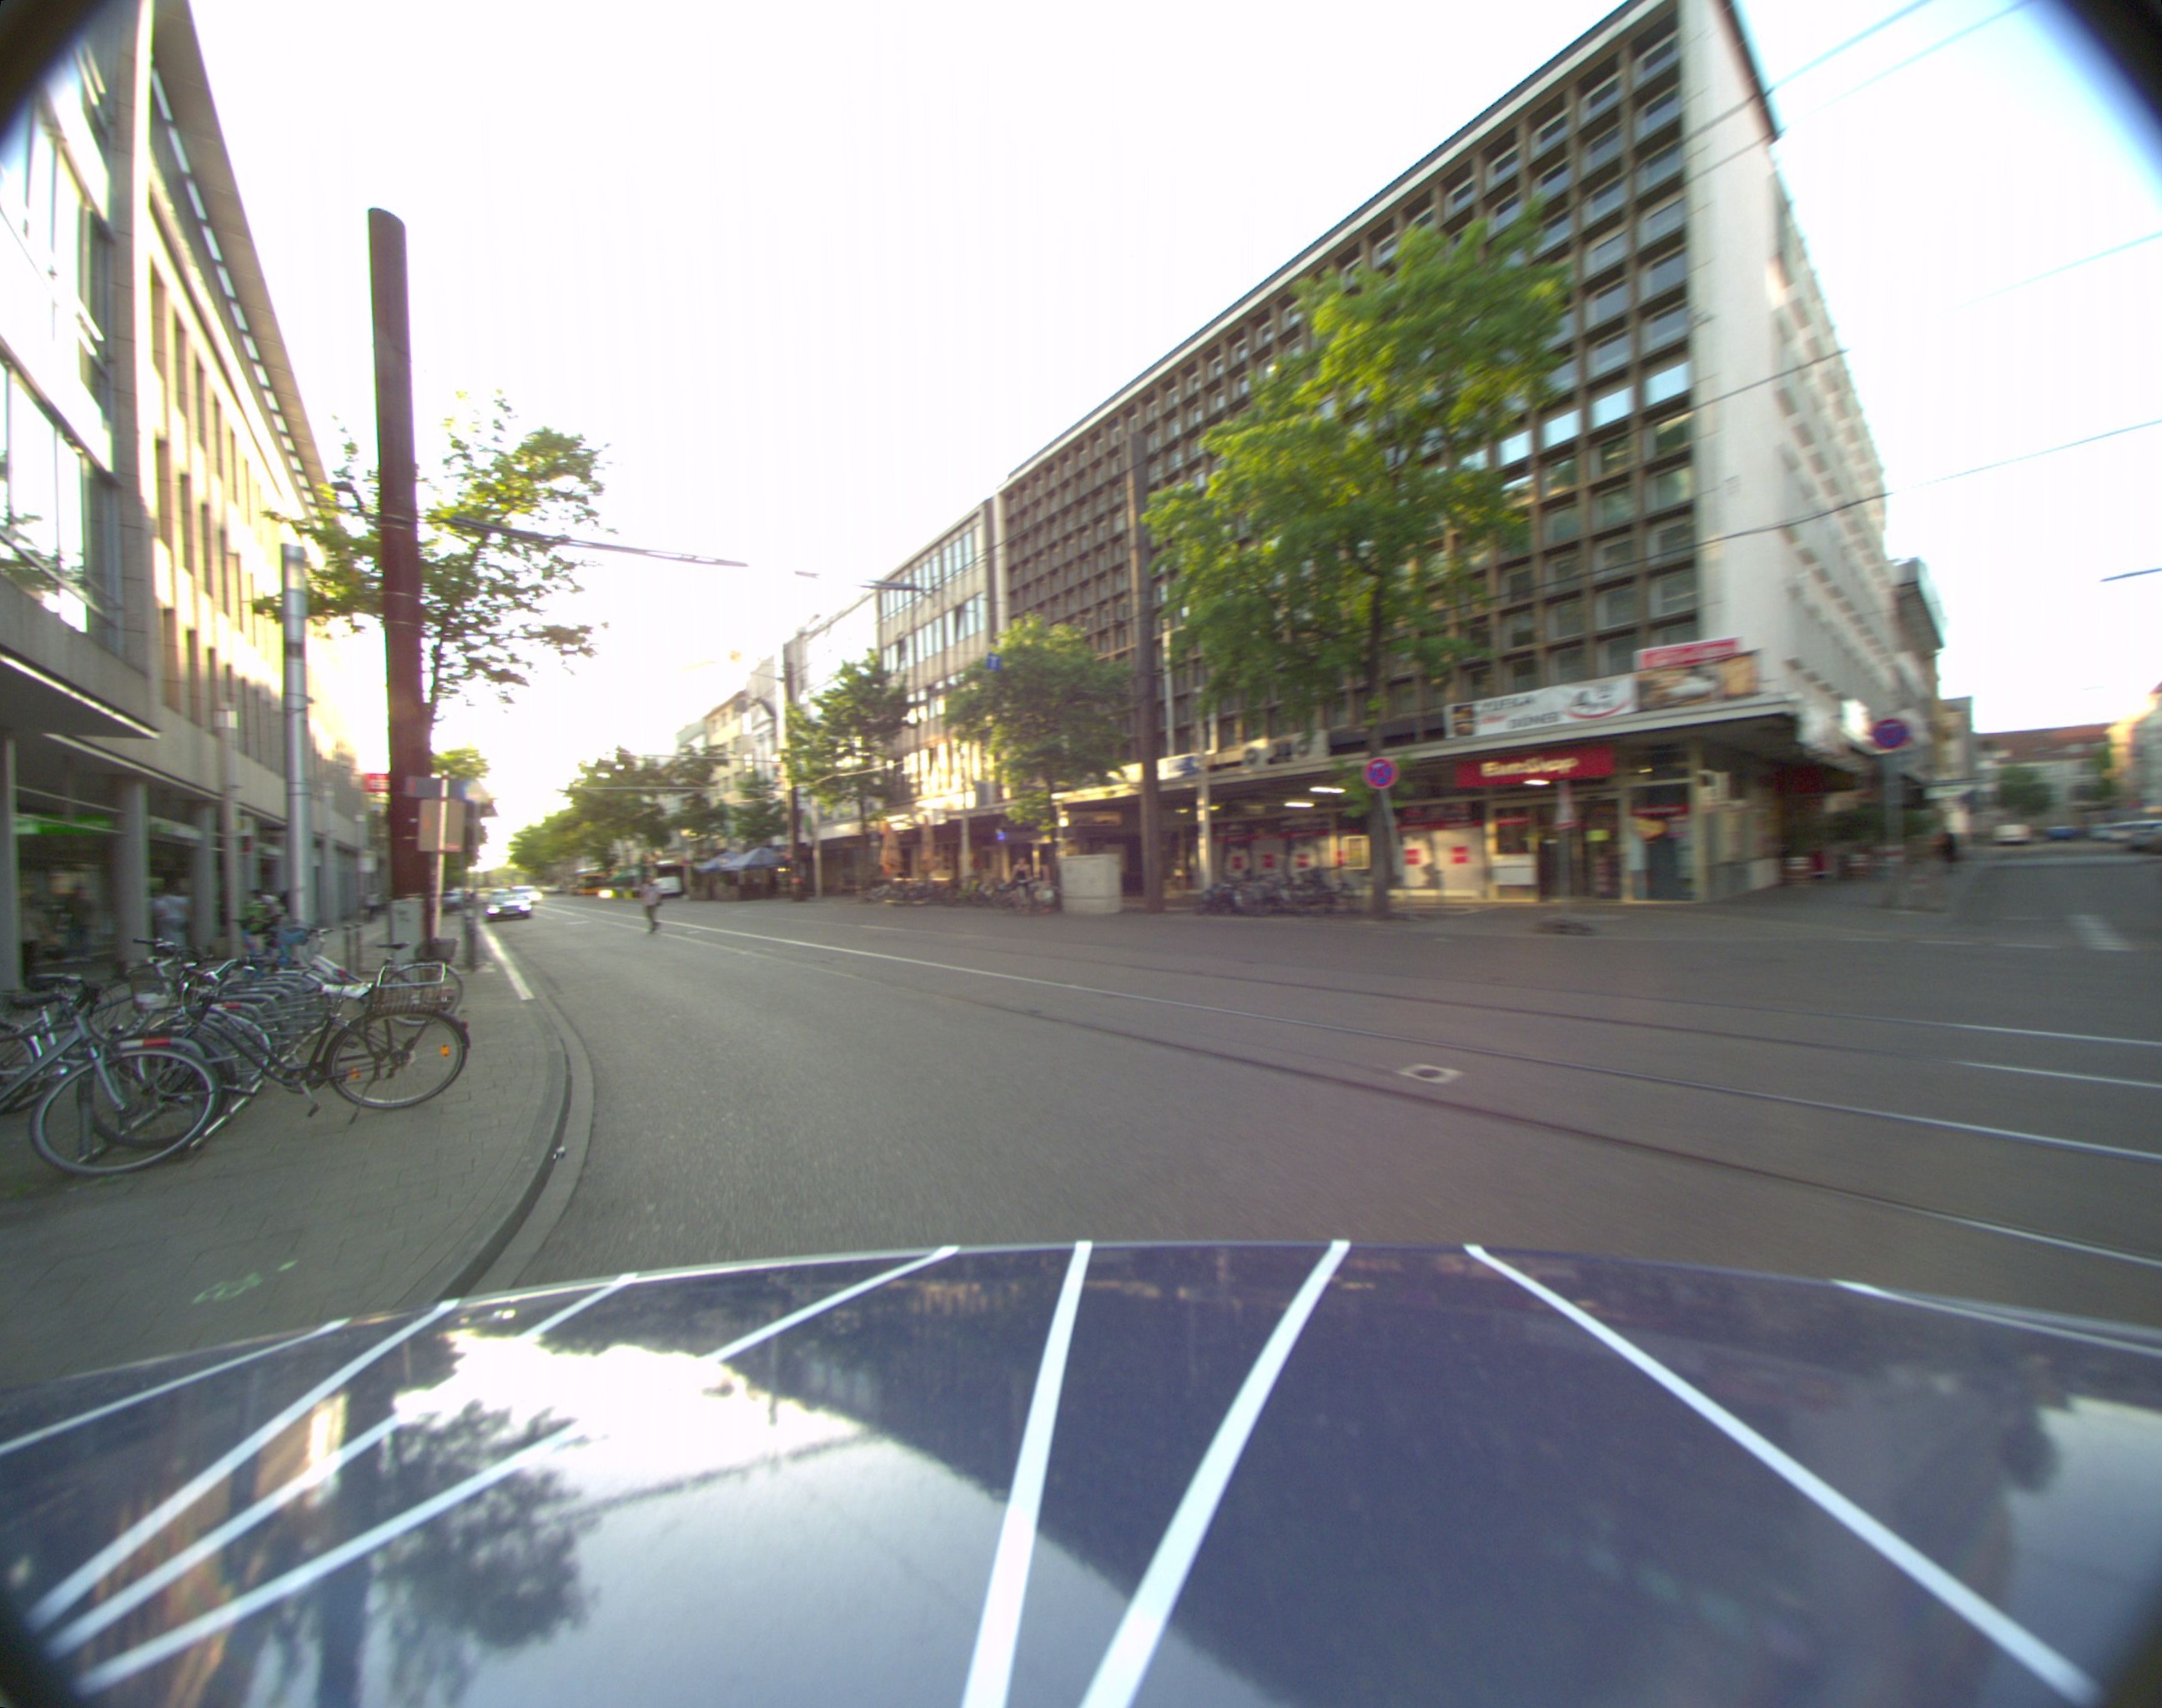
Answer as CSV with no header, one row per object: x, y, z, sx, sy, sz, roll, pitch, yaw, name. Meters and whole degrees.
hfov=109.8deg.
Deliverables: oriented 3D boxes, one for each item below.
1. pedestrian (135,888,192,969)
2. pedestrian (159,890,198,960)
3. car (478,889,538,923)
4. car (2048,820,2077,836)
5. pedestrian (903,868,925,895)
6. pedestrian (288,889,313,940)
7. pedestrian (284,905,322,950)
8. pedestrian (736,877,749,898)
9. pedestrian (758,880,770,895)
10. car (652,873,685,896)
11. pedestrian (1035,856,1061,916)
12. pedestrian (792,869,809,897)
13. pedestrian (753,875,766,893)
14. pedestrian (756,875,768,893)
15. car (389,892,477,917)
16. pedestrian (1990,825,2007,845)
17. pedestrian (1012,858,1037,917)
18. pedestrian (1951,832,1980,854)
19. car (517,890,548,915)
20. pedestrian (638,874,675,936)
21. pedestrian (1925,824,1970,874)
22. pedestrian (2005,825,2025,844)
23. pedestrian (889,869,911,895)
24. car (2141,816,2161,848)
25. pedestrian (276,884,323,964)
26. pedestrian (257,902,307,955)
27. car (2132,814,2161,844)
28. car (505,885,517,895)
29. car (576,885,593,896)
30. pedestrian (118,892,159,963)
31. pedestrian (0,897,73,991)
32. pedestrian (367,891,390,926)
-21.878,1.750,18.138,0.672,1.828,0.877,-1,-1,-39,pedestrian
-23.855,1.863,20.081,0.542,1.795,0.602,-1,-1,-40,pedestrian
-29.029,2.602,38.610,1.802,1.400,4.555,-4,1,-30,car
101.365,-2.706,78.500,4.007,1.501,1.795,-2,0,-38,car
-8.598,1.432,39.145,0.673,1.318,0.910,-6,2,-40,pedestrian
-30.265,2.331,29.478,0.581,1.932,0.654,-1,0,-39,pedestrian
-24.475,2.305,23.910,0.721,1.307,0.523,-3,1,-37,pedestrian
-25.285,2.492,56.758,0.659,1.544,0.564,-6,3,-40,pedestrian
-25.059,2.658,60.013,0.644,1.150,0.664,-6,3,-41,pedestrian
-36.480,2.694,67.133,1.835,1.811,4.319,-6,1,-37,car
-0.961,0.935,22.312,0.603,1.689,0.535,-3,0,-9,pedestrian
-19.035,1.968,51.620,0.687,1.782,0.988,-6,2,-38,pedestrian
-26.299,2.444,62.108,0.664,1.426,0.641,-8,4,-38,pedestrian
-25.843,2.421,61.554,0.664,1.426,0.641,-8,4,-38,pedestrian
-47.900,3.721,56.286,1.914,1.619,4.646,-4,-3,20,car
80.224,-1.660,66.455,0.932,1.651,0.869,-3,-1,-39,pedestrian
-1.671,0.971,22.448,0.603,1.689,0.535,-3,0,-9,pedestrian
67.694,-0.831,58.144,1.016,1.651,1.297,-3,-1,-36,pedestrian
-48.421,4.253,67.001,2.004,2.001,3.990,-2,-1,-38,car
-12.967,1.555,23.177,0.823,1.782,0.988,-4,0,-32,pedestrian
29.498,-0.175,25.864,0.932,1.651,0.869,-3,-1,-36,pedestrian
80.747,-1.686,65.690,0.980,1.651,0.975,-2,-1,-39,pedestrian
-9.506,1.483,39.942,0.673,1.318,0.910,-6,2,-40,pedestrian
53.151,-1.137,36.875,4.007,1.501,1.795,-2,0,-38,car
-18.676,1.651,18.167,0.672,1.828,0.706,-1,-1,-39,pedestrian
-22.318,2.068,21.237,0.817,1.373,0.661,-3,1,-37,pedestrian
58.038,-1.387,40.758,4.007,1.501,1.795,-2,0,-38,car
-124.644,7.844,166.082,2.004,2.001,3.990,-2,-1,-38,car
-75.144,5.537,114.943,1.803,1.501,3.990,-2,-1,-38,car
-24.575,1.900,19.819,0.542,1.795,0.602,-1,-1,-40,pedestrian
-19.334,1.635,14.060,0.651,1.651,0.679,-1,-1,-37,pedestrian
-33.281,2.577,35.984,0.672,1.579,0.636,-4,1,-39,pedestrian
